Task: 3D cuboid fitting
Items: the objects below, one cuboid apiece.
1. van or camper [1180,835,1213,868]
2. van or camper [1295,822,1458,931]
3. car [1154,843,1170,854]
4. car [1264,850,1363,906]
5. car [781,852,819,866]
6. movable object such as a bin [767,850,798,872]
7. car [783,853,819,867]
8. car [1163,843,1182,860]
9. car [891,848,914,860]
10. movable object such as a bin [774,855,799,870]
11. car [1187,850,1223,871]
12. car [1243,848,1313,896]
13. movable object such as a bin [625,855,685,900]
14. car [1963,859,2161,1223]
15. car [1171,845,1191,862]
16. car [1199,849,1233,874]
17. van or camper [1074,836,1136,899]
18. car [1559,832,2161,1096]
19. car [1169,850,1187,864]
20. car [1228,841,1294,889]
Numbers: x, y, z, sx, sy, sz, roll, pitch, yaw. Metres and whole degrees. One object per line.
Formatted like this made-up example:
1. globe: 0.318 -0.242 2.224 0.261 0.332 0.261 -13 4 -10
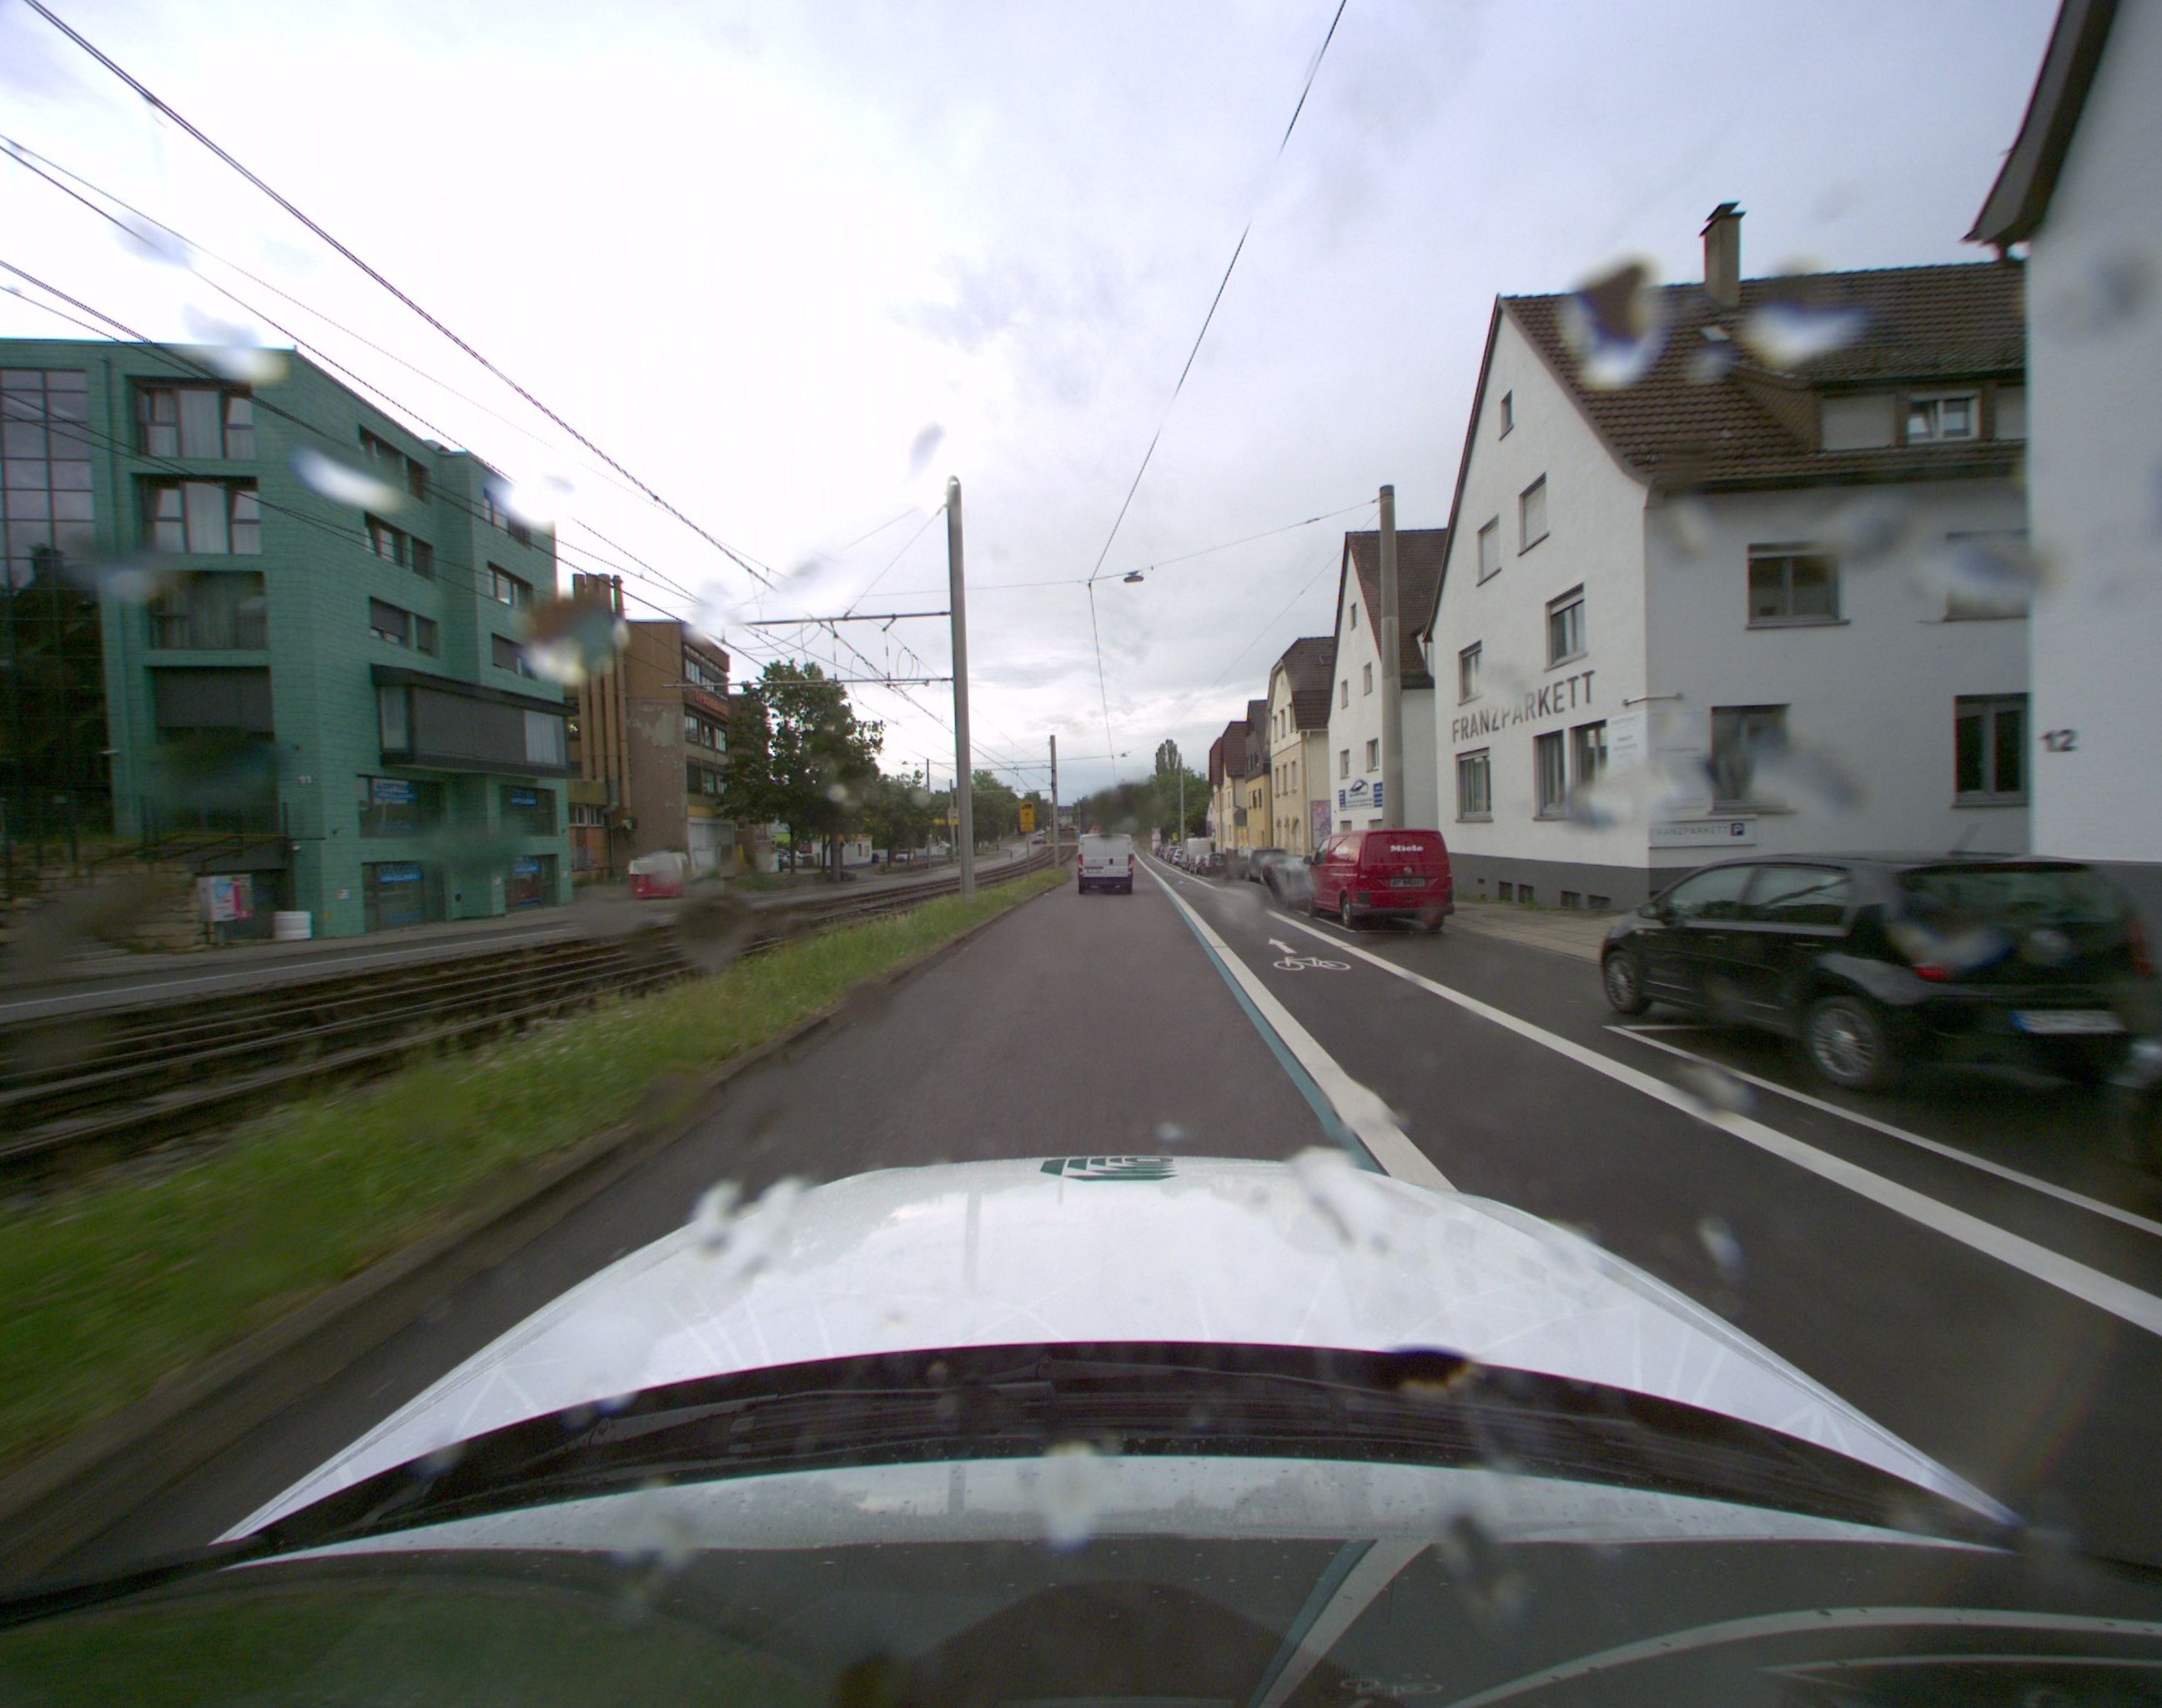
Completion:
1. van or camper: 9.215 -0.278 65.418 1.986 2.563 6.047 0 1 2
2. van or camper: 6.051 0.394 17.392 1.843 1.920 4.999 -2 0 3
3. car: 11.513 -0.753 115.728 1.841 1.499 3.955 0 1 1
4. car: 6.398 0.590 22.909 1.788 1.376 4.677 -1 0 5
5. car: -30.026 0.554 87.066 3.781 1.453 1.540 0 0 -24
6. movable object such as a bin: -27.935 0.596 76.350 1.993 1.919 3.561 0 2 -9
7. car: -31.821 0.675 92.661 3.781 1.479 1.563 0 0 -24
8. car: 10.382 -0.342 92.250 1.741 1.807 3.955 0 2 1
9. car: -22.509 0.024 102.594 1.987 1.442 4.000 0 0 0
10. movable object such as a bin: -28.530 0.792 79.016 1.993 1.375 1.565 0 2 -9
11. car: 8.806 0.444 58.149 1.783 1.406 4.551 0 1 -1
12. car: 6.833 0.584 28.636 1.627 1.538 4.138 0 0 2
13. movable object such as a bin: -21.367 1.139 40.949 2.131 2.156 1.798 0 2 -7
14. car: 5.002 0.742 1.640 1.704 1.412 4.570 -1 0 4
15. car: 9.944 -0.109 81.200 1.640 1.615 4.107 0 1 2
16. car: 8.625 0.445 52.285 1.561 1.498 3.511 0 0 -1
17. van or camper: 0.840 0.459 31.434 2.193 2.252 4.681 0 0 -1
18. car: 5.568 0.642 6.454 1.570 1.451 3.724 -2 -1 5
19. car: 10.327 0.299 86.713 1.640 1.445 3.957 0 1 2
20. car: 7.300 0.392 33.382 1.832 1.800 4.689 0 0 2
